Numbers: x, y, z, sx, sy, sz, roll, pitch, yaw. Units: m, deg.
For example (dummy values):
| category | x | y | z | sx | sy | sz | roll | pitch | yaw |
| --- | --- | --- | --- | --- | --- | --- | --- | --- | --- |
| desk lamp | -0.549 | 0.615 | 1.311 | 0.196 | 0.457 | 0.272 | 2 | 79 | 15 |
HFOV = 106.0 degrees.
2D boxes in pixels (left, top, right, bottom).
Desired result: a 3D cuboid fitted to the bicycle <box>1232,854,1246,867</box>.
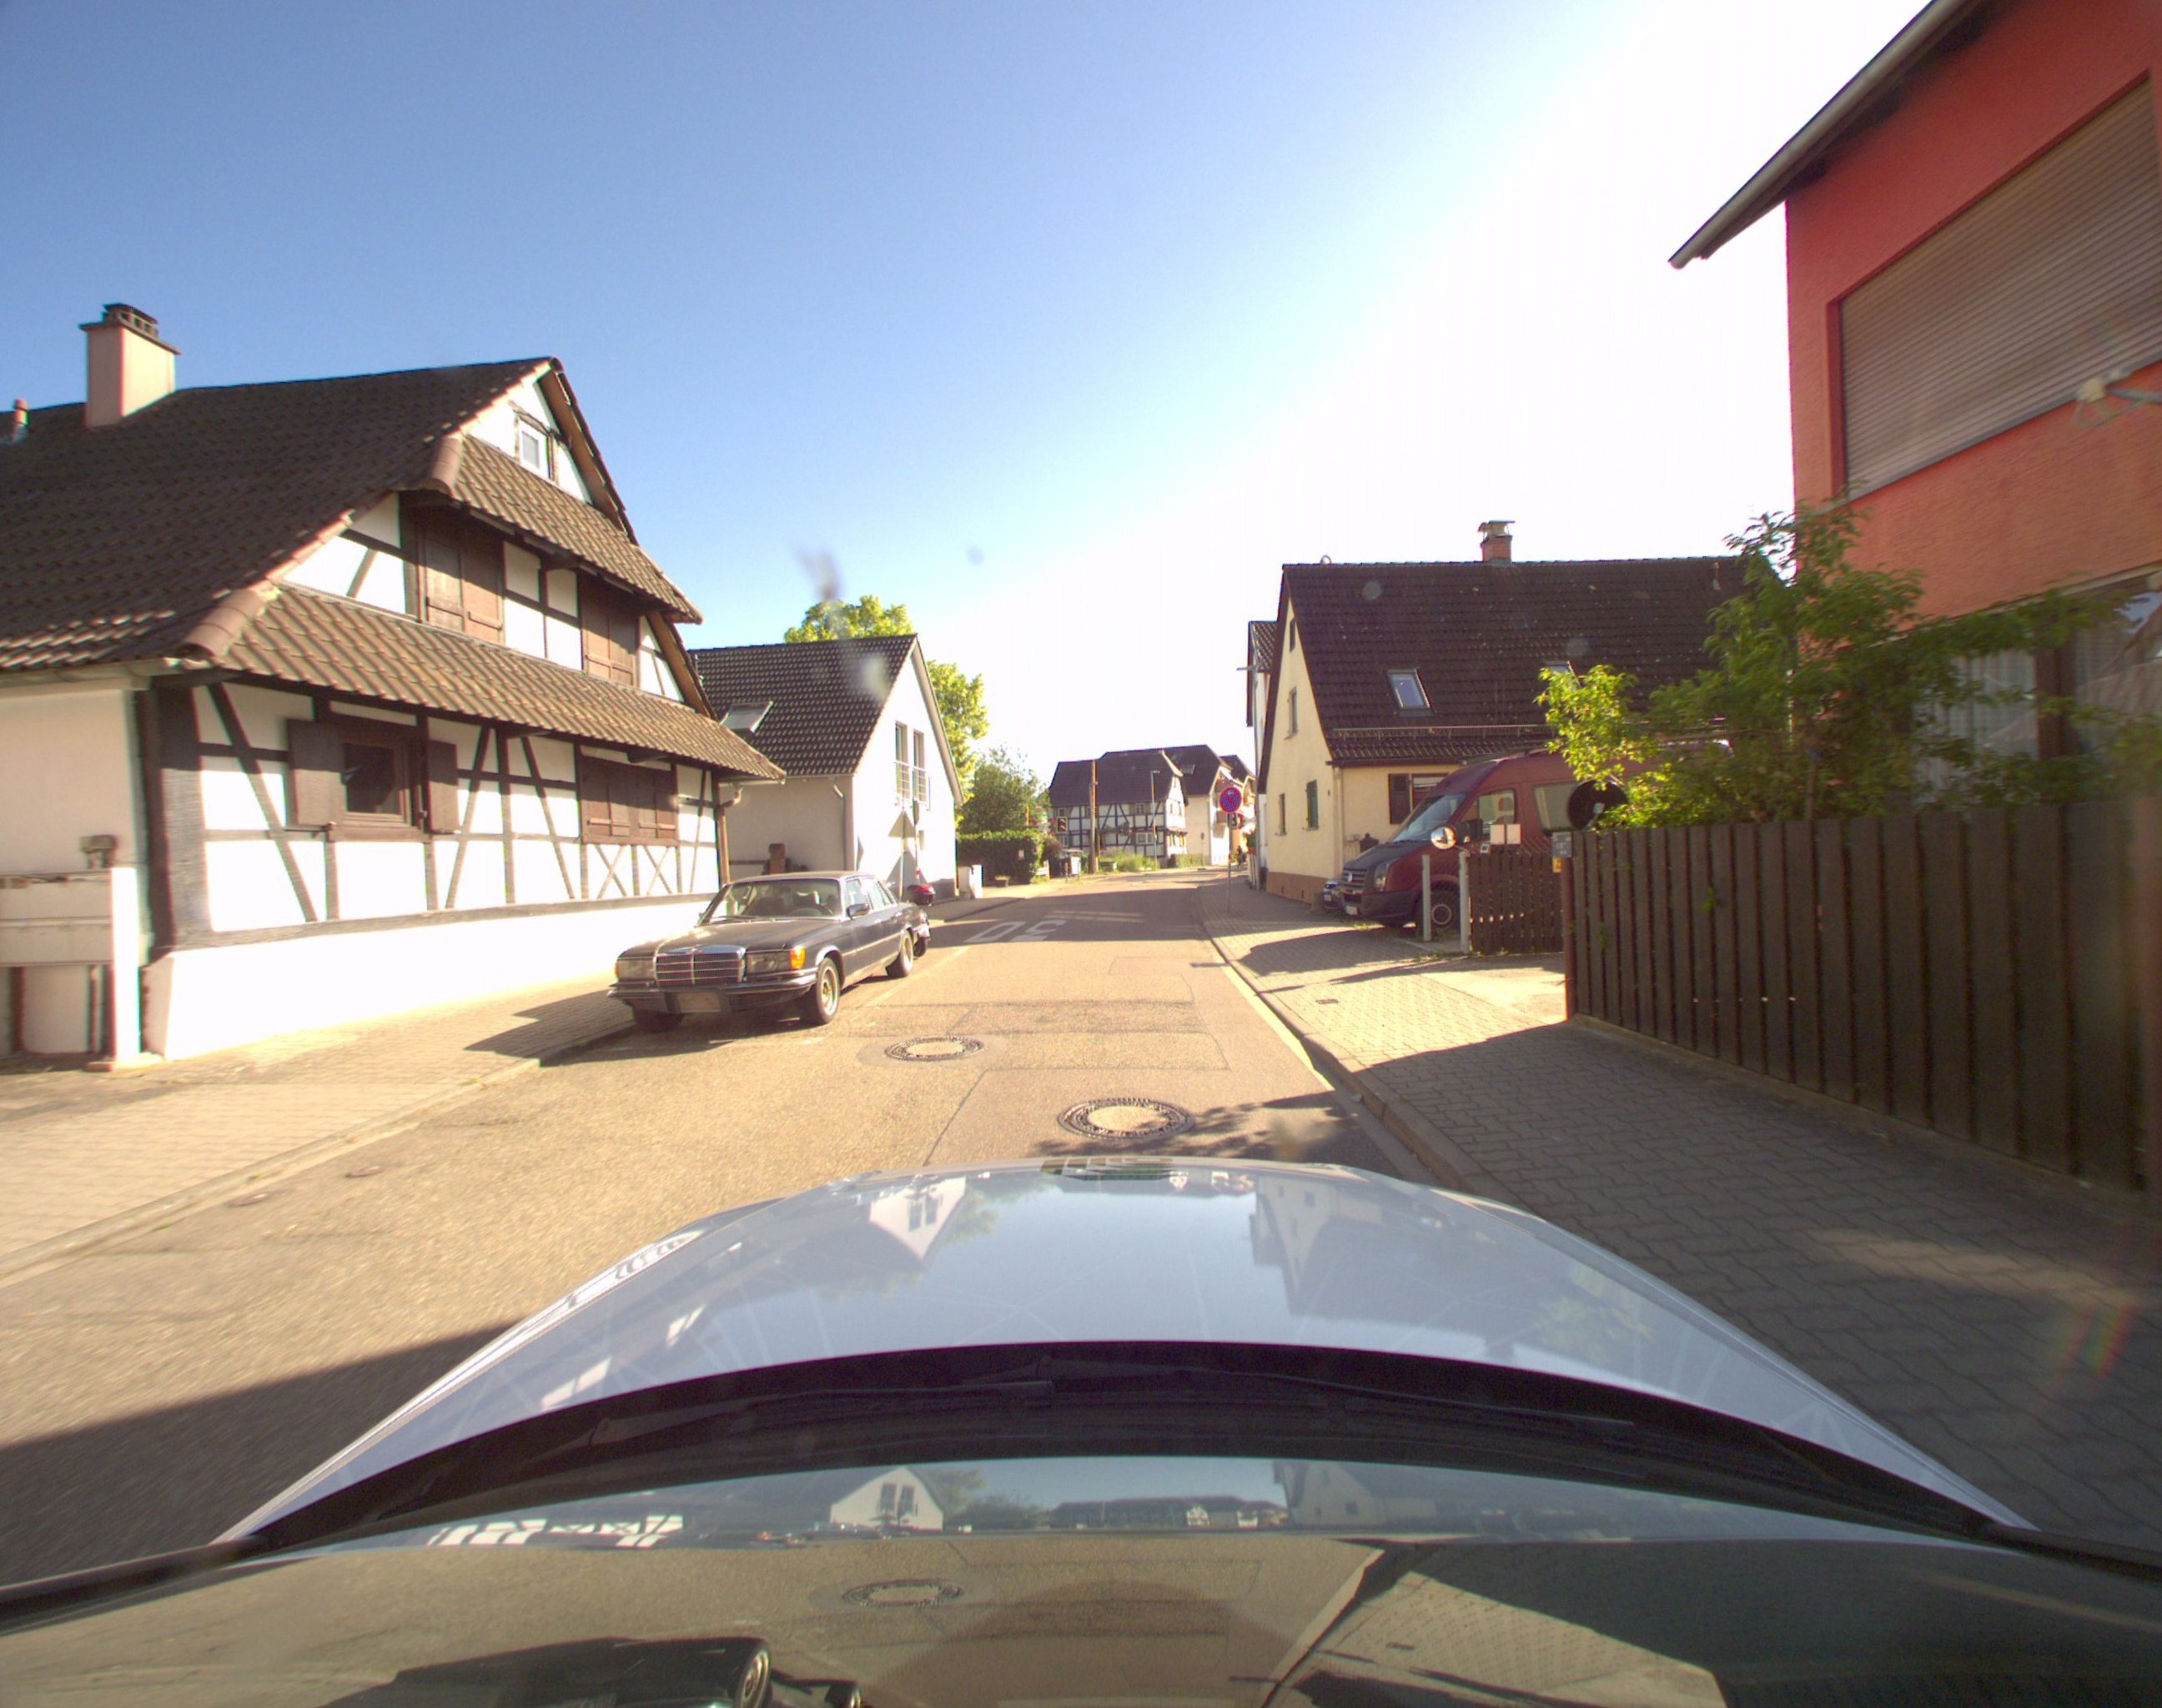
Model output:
| category | x | y | z | sx | sy | sz | roll | pitch | yaw |
| --- | --- | --- | --- | --- | --- | --- | --- | --- | --- |
| bicycle | 12.692 | 0.551 | 65.335 | 0.877 | 1.005 | 2.071 | -3 | -1 | 15 |

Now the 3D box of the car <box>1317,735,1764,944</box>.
| category | x | y | z | sx | sy | sz | roll | pitch | yaw |
| --- | --- | --- | --- | --- | --- | --- | --- | --- | --- |
| car | 6.940 | -0.209 | 12.729 | 5.788 | 2.655 | 1.966 | -4 | -1 | -2 |

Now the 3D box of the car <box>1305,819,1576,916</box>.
| category | x | y | z | sx | sy | sz | roll | pitch | yaw |
| --- | --- | --- | --- | --- | --- | --- | --- | --- | --- |
| car | 6.795 | 0.264 | 15.732 | 4.360 | 1.487 | 1.839 | -4 | -1 | 0 |

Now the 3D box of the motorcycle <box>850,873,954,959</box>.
| category | x | y | z | sx | sy | sz | roll | pitch | yaw |
| --- | --- | --- | --- | --- | --- | --- | --- | --- | --- |
| motorcycle | -2.853 | 0.936 | 12.861 | 0.630 | 1.231 | 1.970 | -2 | 0 | -44 |

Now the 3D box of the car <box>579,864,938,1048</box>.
| category | x | y | z | sx | sy | sz | roll | pitch | yaw |
| --- | --- | --- | --- | --- | --- | --- | --- | --- | --- |
| car | -3.118 | 0.875 | 9.263 | 1.837 | 1.406 | 5.039 | -3 | -1 | 2 |

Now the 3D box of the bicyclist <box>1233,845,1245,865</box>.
| category | x | y | z | sx | sy | sz | roll | pitch | yaw |
| --- | --- | --- | --- | --- | --- | --- | --- | --- | --- |
| bicyclist | 12.680 | 0.072 | 65.312 | 0.842 | 1.541 | 0.877 | -3 | -2 | 15 |

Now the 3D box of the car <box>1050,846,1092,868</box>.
| category | x | y | z | sx | sy | sz | roll | pitch | yaw |
| --- | --- | --- | --- | --- | --- | --- | --- | --- | --- |
| car | -0.766 | 0.227 | 57.935 | 1.690 | 1.564 | 3.971 | 0 | -1 | -21 |

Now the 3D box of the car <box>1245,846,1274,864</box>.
| category | x | y | z | sx | sy | sz | roll | pitch | yaw |
| --- | --- | --- | --- | --- | --- | --- | --- | --- | --- |
| car | 16.601 | 0.102 | 75.545 | 1.615 | 1.506 | 3.876 | -5 | -2 | 27 |
